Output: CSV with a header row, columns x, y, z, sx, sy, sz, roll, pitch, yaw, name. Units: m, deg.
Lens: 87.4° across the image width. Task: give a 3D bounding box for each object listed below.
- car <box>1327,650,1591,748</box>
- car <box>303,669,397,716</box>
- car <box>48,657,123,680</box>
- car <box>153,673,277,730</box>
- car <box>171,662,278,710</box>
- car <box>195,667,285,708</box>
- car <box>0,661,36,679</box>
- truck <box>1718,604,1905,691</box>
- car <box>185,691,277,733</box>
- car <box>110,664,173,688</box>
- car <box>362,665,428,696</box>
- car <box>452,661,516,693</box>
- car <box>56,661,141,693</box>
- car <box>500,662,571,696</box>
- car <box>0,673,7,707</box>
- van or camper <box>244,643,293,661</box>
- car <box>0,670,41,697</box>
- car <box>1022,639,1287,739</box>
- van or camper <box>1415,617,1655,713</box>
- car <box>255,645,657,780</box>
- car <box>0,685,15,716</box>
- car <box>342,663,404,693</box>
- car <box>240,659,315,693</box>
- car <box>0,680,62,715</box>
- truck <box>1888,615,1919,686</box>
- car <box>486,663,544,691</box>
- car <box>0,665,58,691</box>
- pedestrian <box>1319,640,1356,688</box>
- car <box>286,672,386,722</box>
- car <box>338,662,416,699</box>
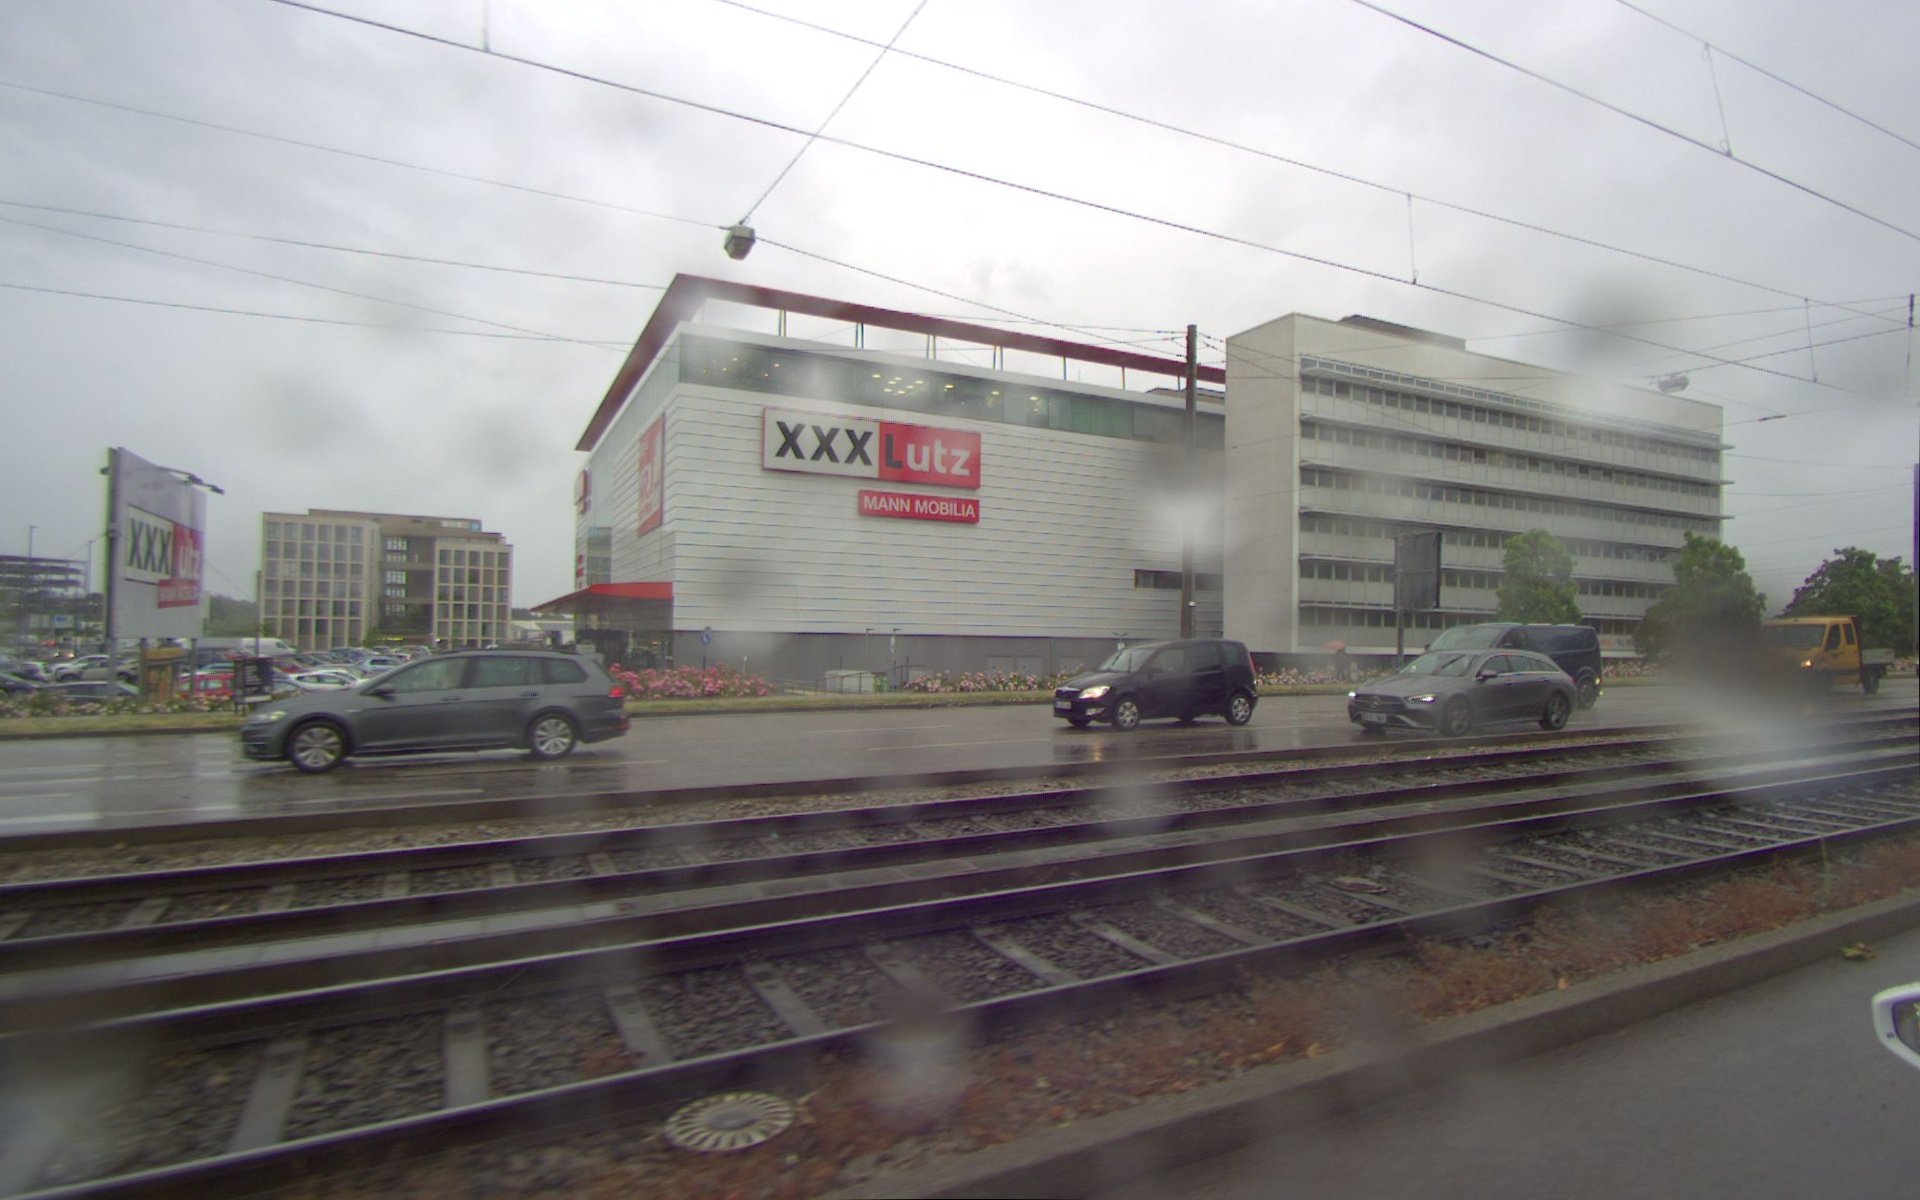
x,y,z,sx,sy,sz,roll,pitch,yaw,name
8.807,1.647,17.646,4.632,1.513,1.851,2,-3,-29,car
-30.587,4.598,50.498,3.955,2.040,1.983,1,0,-31,car
-66.198,5.172,76.085,3.958,1.582,1.751,2,-1,-29,car
-30.954,4.185,41.891,3.955,2.040,1.983,1,0,-31,car
-35.229,4.089,48.258,3.955,2.040,1.983,1,0,-31,car
-40.602,4.924,56.778,3.955,2.040,1.983,1,0,-31,car
-81.218,5.944,85.400,3.519,1.425,1.775,2,-1,-25,car
26.757,1.454,31.533,5.985,2.494,2.220,1,0,-26,truck
-27.971,4.273,38.632,2.740,1.422,1.340,2,-1,-32,car
-56.041,5.192,68.840,3.133,1.544,1.559,2,-1,-32,car
-39.953,5.657,71.076,3.955,2.040,1.983,2,-1,-32,car
-34.106,5.492,72.029,3.955,2.040,1.983,2,-1,-32,car
-55.460,4.935,64.740,3.864,1.930,1.807,2,-1,-33,car
-27.495,5.071,65.099,3.954,2.040,1.983,2,-1,-31,car
-59.629,5.404,59.849,3.792,1.930,1.807,2,-1,-33,car
-84.796,6.345,123.247,4.941,2.141,1.770,2,-1,-34,van or camper
-59.476,5.202,62.442,3.133,1.544,1.559,2,-1,-32,car
3.673,1.579,18.661,4.850,1.639,1.849,2,-3,-30,car
13.890,1.490,24.216,5.612,2.040,2.297,1,0,-27,van or camper
-6.573,1.399,13.465,4.501,1.536,1.955,2,-4,-30,car
-45.306,4.561,45.241,3.683,1.281,1.539,2,-1,-32,car
-44.320,5.880,75.868,3.955,2.040,1.983,2,-1,-32,car
-45.456,5.044,66.978,3.955,2.040,1.983,1,0,-31,car
-47.089,4.855,50.084,3.133,1.544,1.559,2,-1,-32,car
37.620,1.896,37.105,7.122,2.490,2.427,1,0,-26,truck
-35.134,6.084,79.353,3.955,2.040,1.983,2,-1,-32,car
-60.737,5.056,65.056,3.133,1.544,1.559,2,-1,-32,car
14.725,2.502,39.185,1.036,1.786,0.820,2,1,-26,pedestrian
-29.621,4.569,47.788,3.955,2.040,1.983,1,0,-31,car
-34.818,4.794,60.044,3.954,2.040,1.983,2,-1,-31,car
